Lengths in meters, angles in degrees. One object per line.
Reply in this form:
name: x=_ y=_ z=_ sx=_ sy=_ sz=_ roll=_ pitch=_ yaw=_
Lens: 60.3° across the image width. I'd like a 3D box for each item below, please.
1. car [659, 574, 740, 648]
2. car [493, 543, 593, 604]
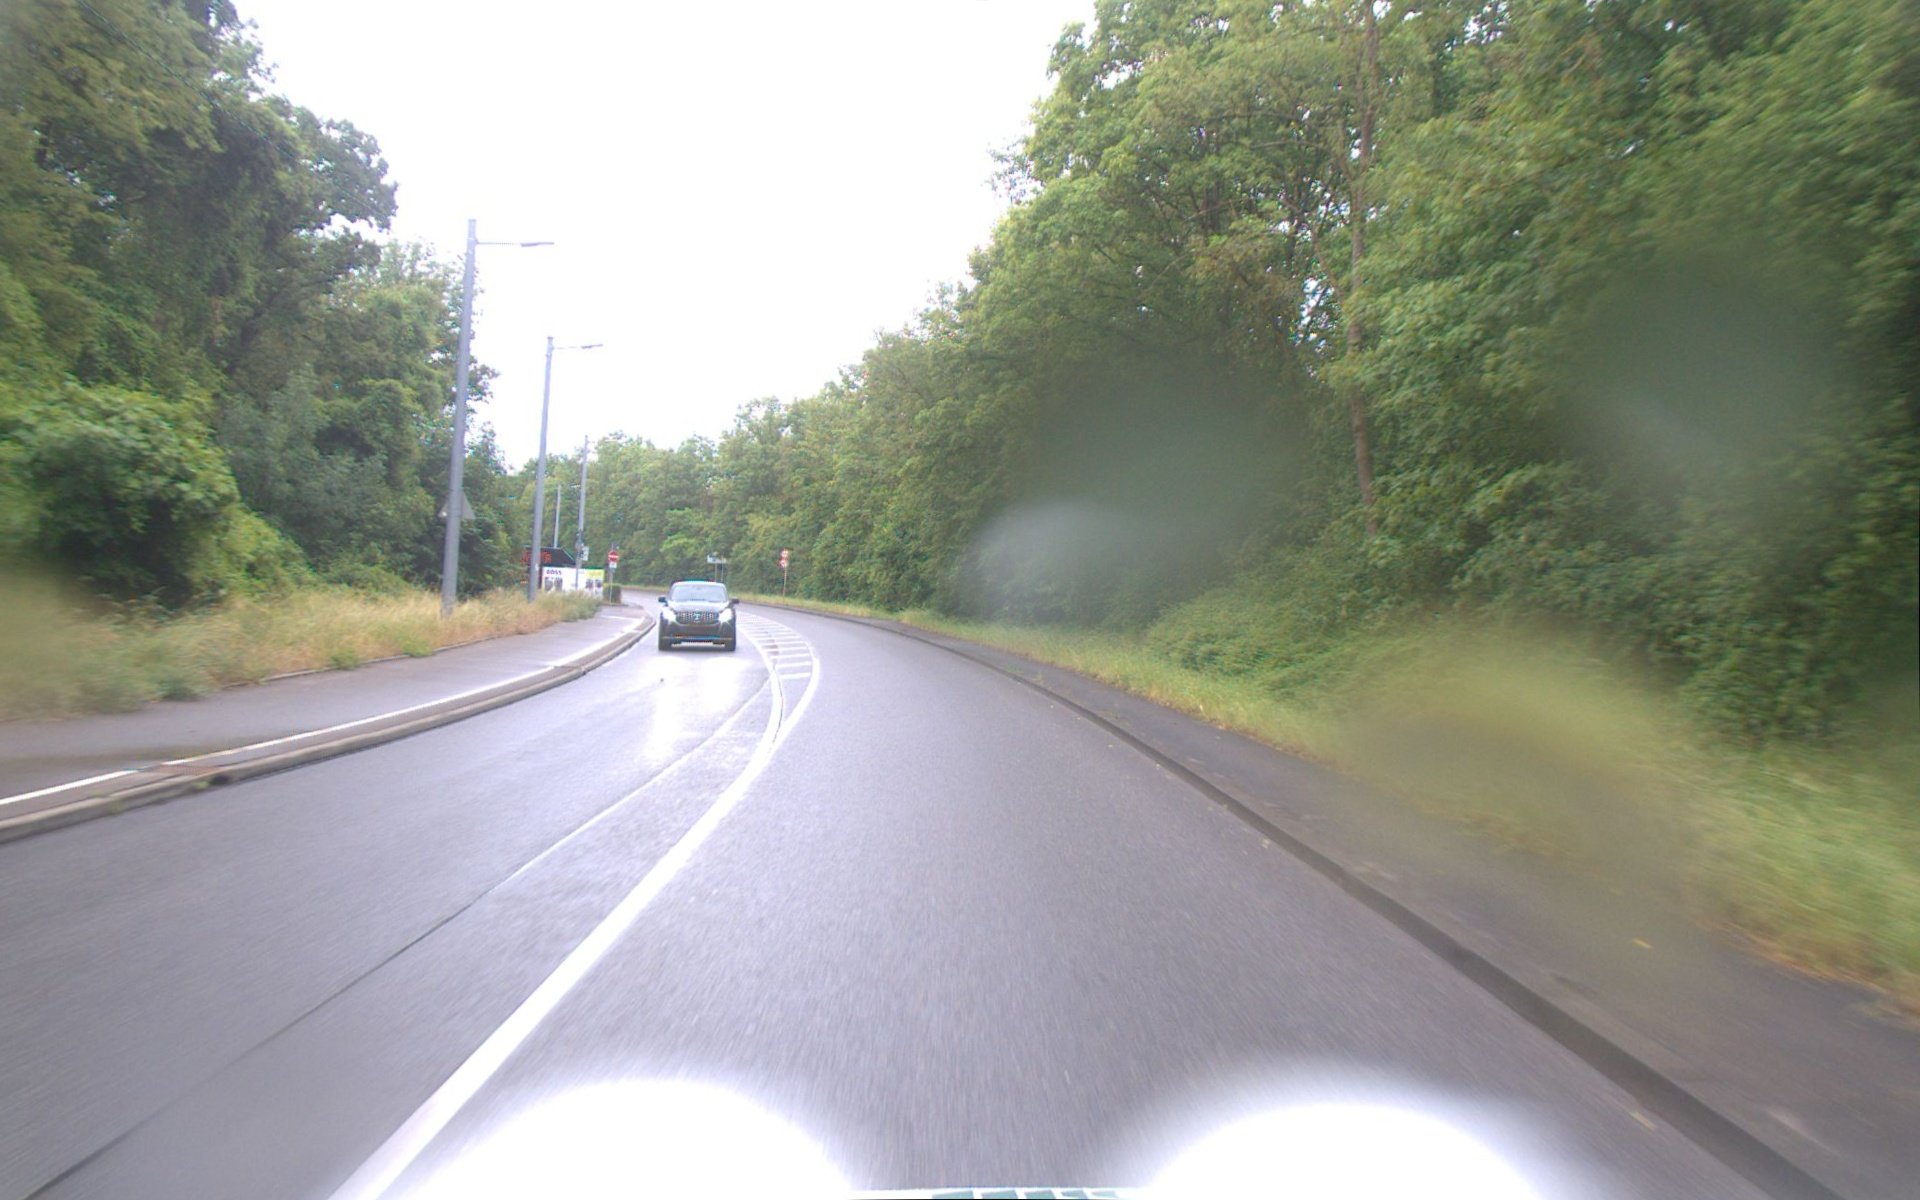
car: x=-6.889 y=0.267 z=43.761 sx=1.957 sy=1.818 sz=4.697 roll=1 pitch=0 yaw=-9
car: x=-25.905 y=-1.623 z=102.781 sx=5.860 sy=3.563 sz=1.988 roll=1 pitch=0 yaw=-21
